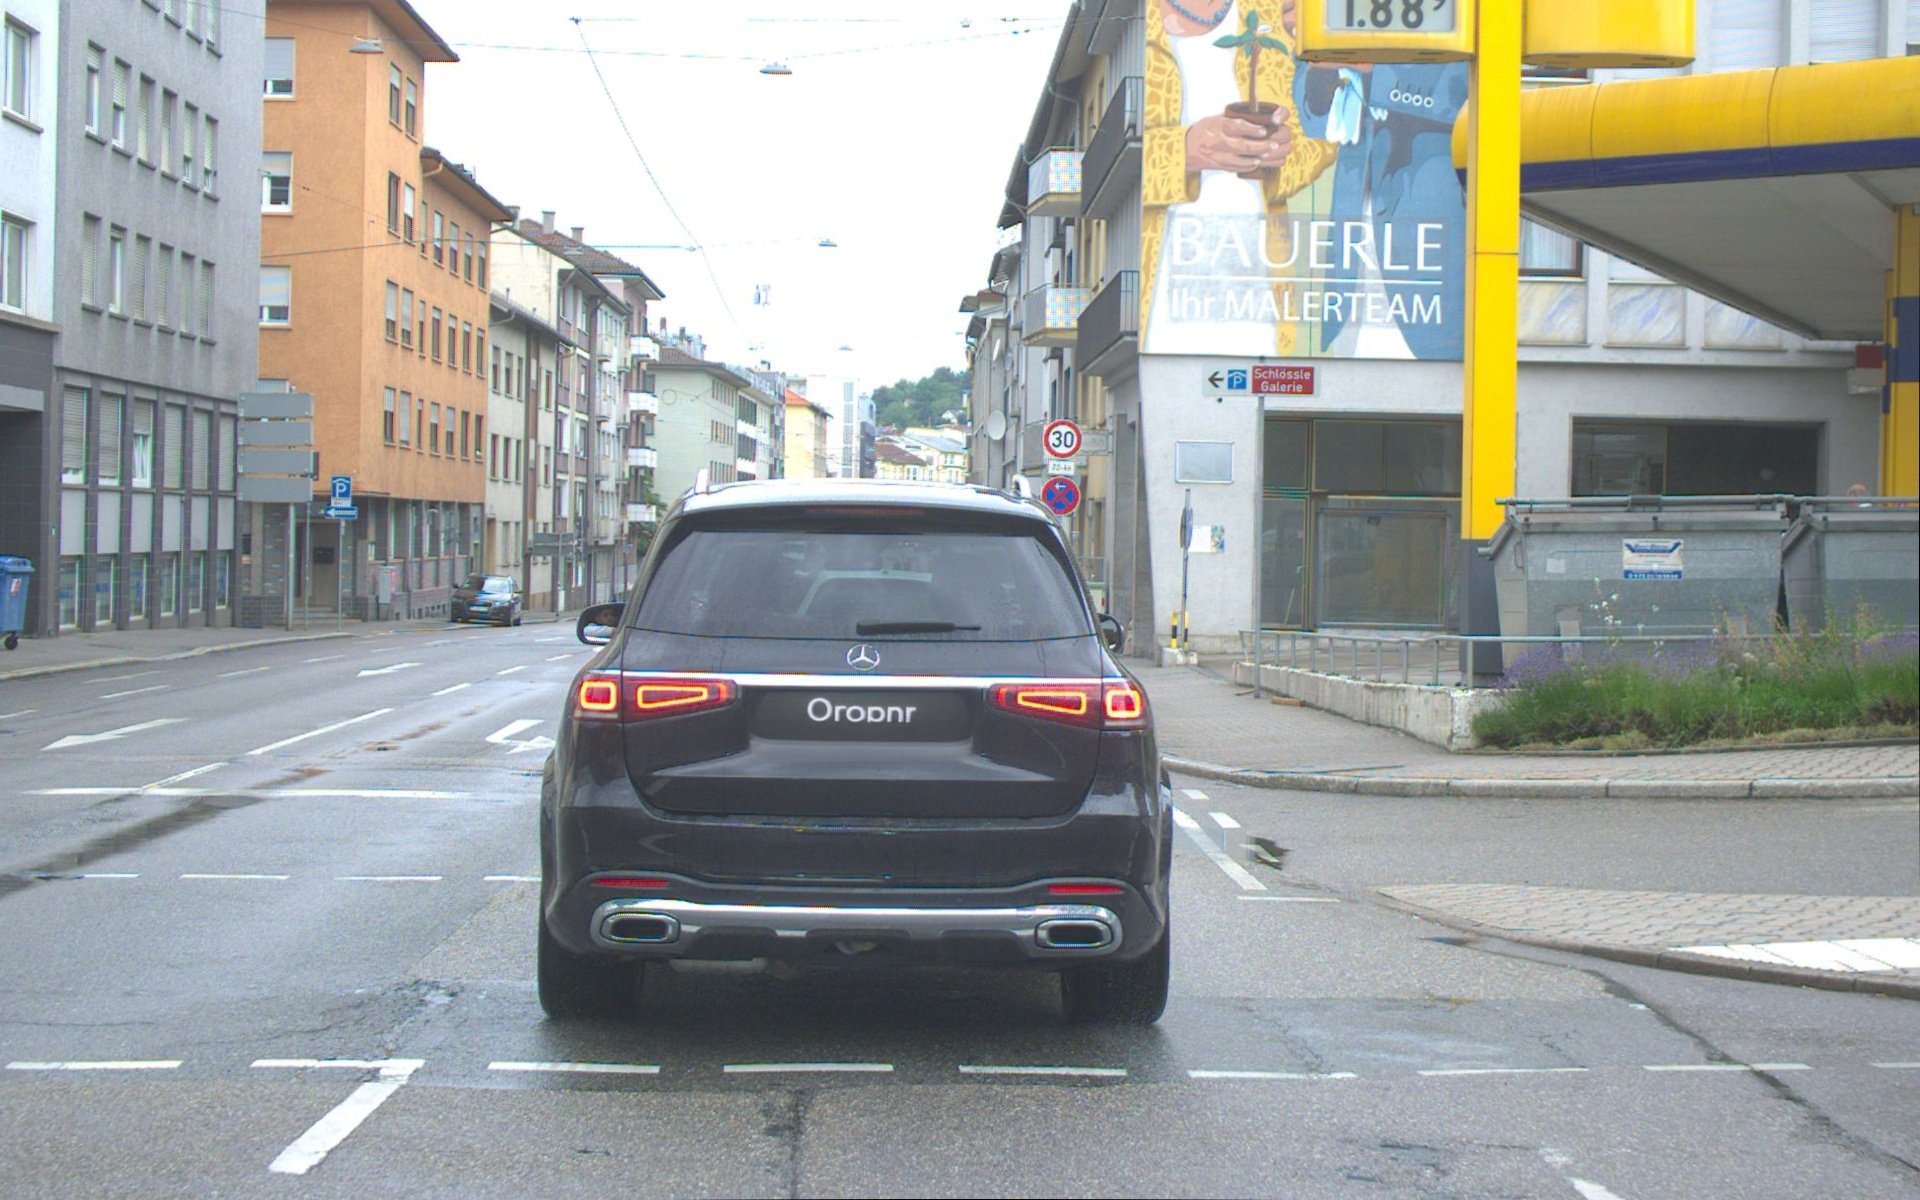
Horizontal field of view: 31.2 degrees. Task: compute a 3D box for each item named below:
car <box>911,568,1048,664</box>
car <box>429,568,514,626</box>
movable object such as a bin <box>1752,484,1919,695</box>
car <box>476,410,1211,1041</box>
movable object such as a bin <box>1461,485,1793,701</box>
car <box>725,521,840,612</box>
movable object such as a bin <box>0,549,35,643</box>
[{"bbox_3d":[0.274,0.229,57.160,1.893,1.398,4.609,-4,1,-3],"label":"car"},{"bbox_3d":[-13.612,-0.103,95.993,1.891,1.453,4.550,3,1,-3],"label":"car"},{"bbox_3d":[7.339,-0.089,26.247,2.155,1.550,1.773,0,1,0],"label":"movable object such as a bin"},{"bbox_3d":[-0.397,0.334,12.417,2.076,1.759,4.611,3,1,-1],"label":"car"},{"bbox_3d":[5.042,-0.059,26.217,2.155,1.569,1.773,1,1,0],"label":"movable object such as a bin"},{"bbox_3d":[-3.455,-0.675,67.698,2.076,1.644,4.295,3,1,-1],"label":"car"},{"bbox_3d":[-14.014,-0.083,49.424,1.076,1.320,1.191,3,1,-1],"label":"movable object such as a bin"}]
